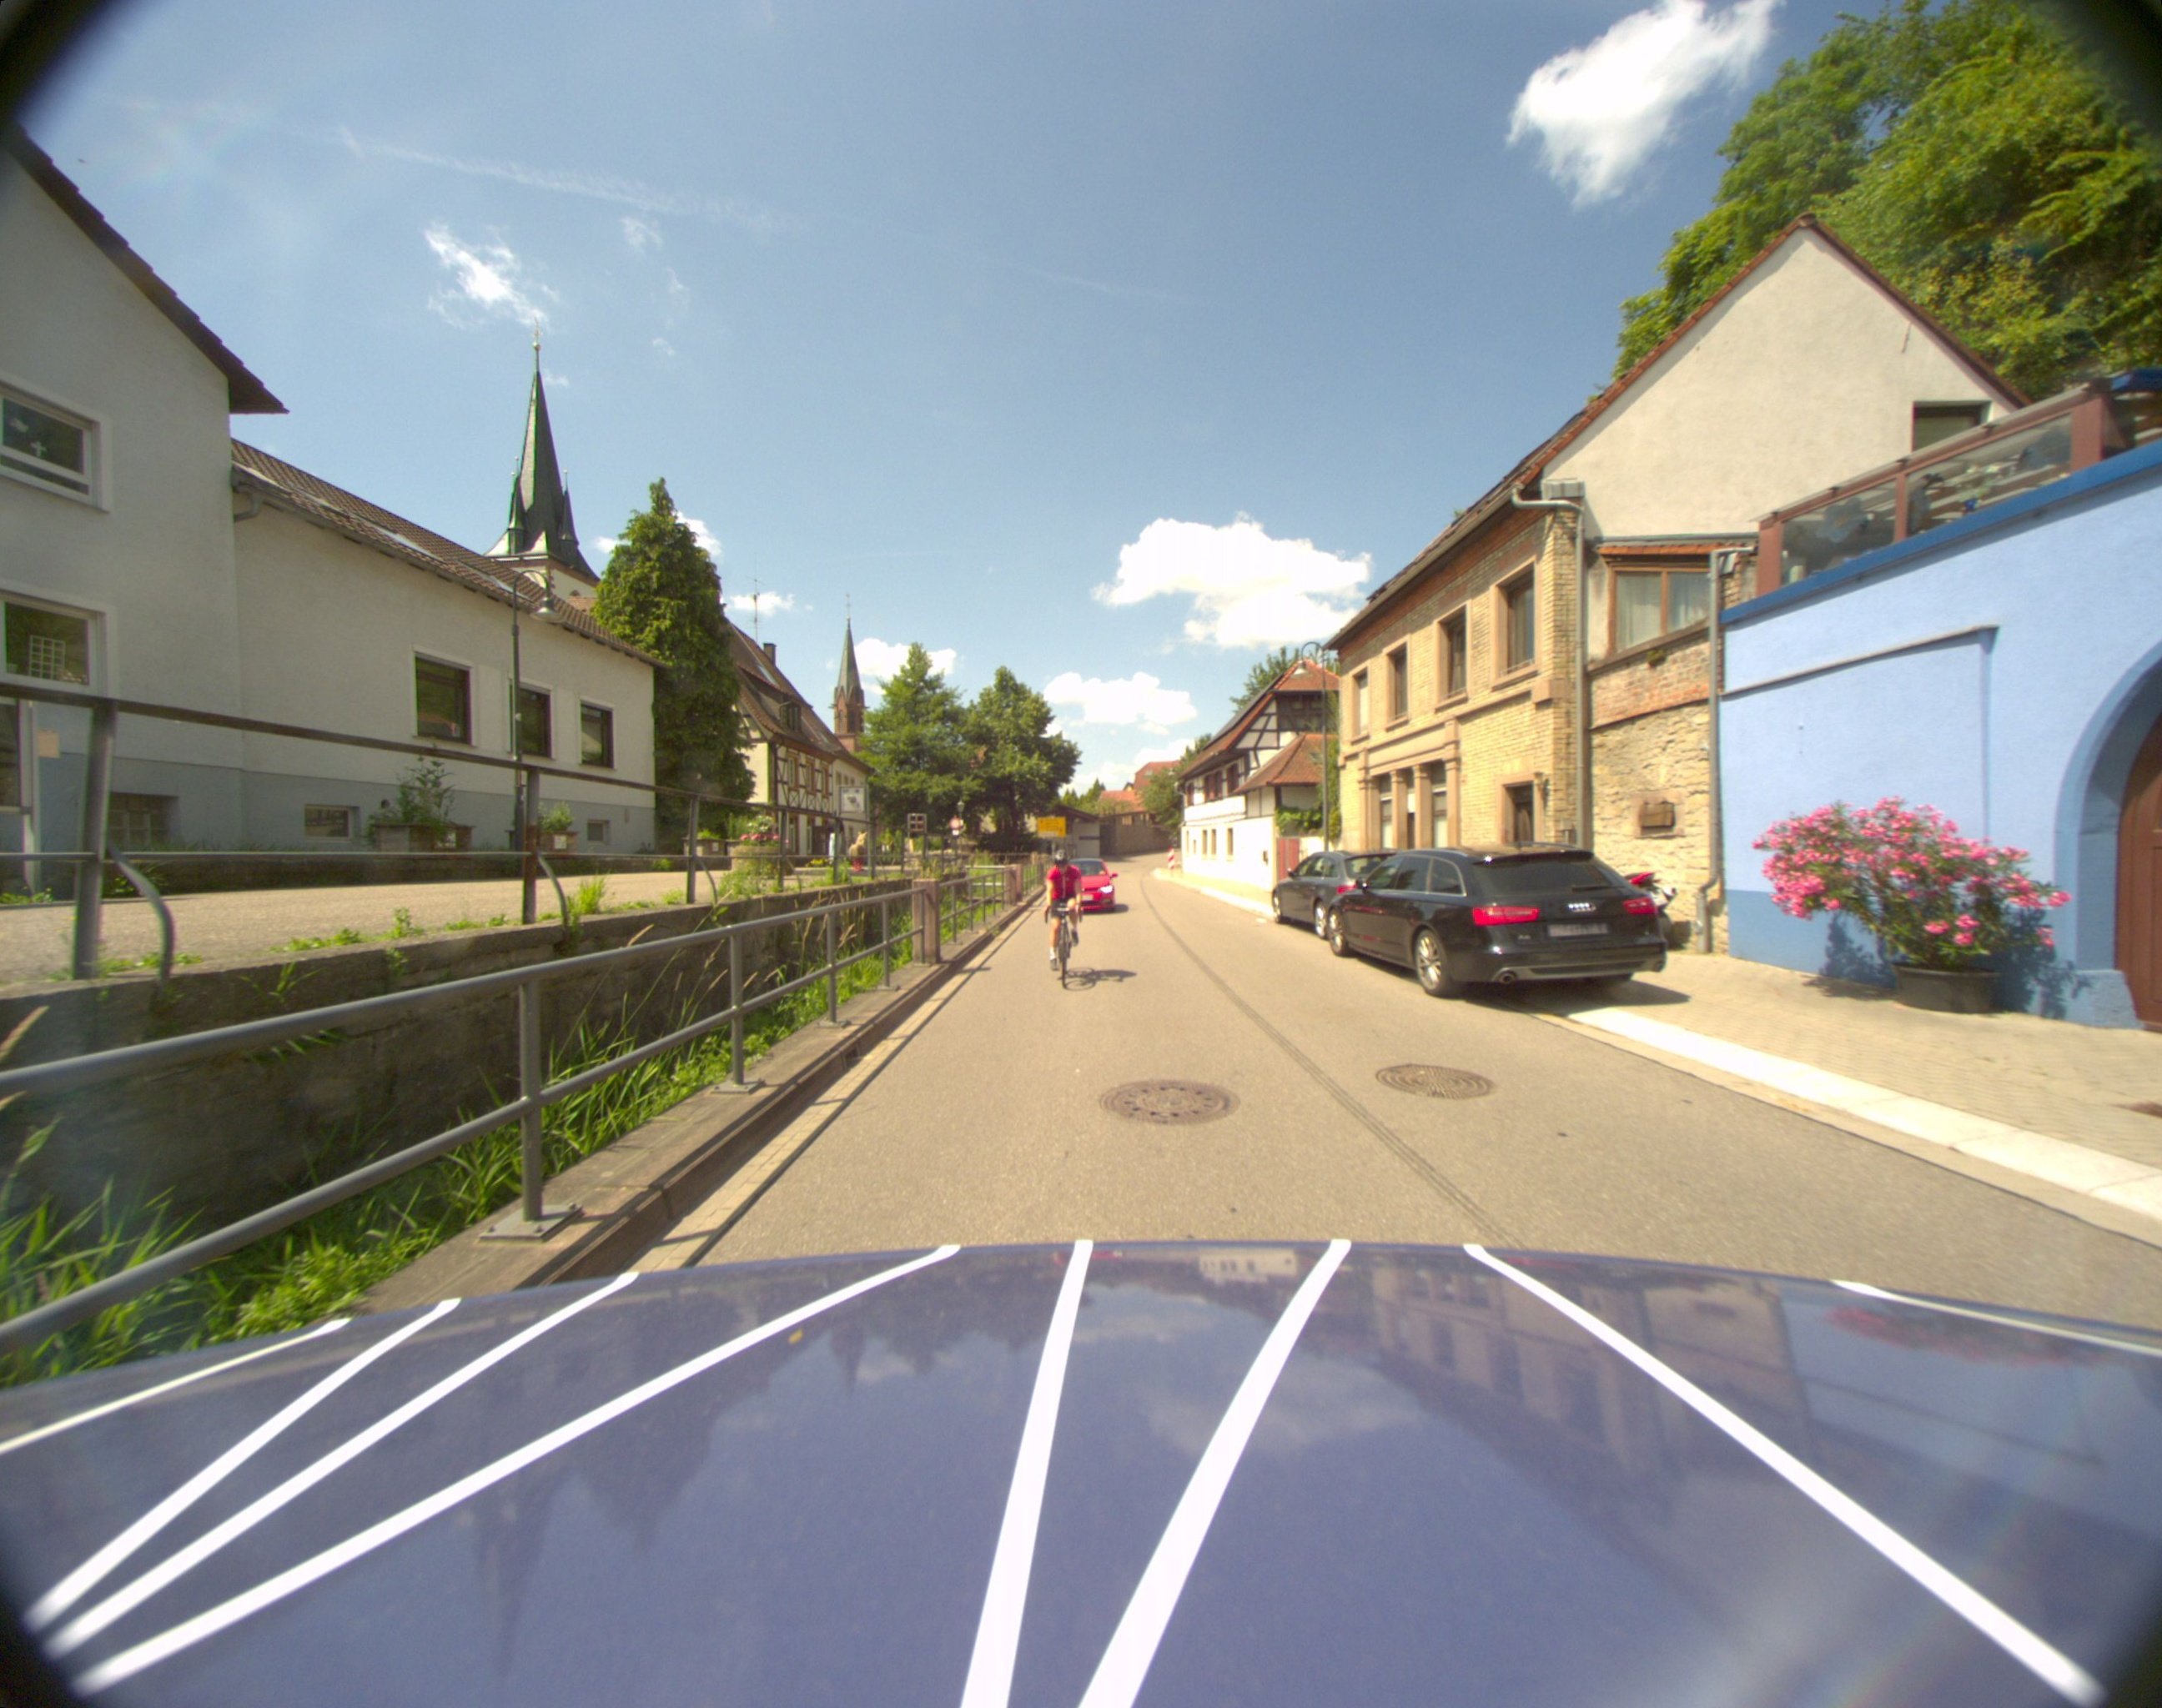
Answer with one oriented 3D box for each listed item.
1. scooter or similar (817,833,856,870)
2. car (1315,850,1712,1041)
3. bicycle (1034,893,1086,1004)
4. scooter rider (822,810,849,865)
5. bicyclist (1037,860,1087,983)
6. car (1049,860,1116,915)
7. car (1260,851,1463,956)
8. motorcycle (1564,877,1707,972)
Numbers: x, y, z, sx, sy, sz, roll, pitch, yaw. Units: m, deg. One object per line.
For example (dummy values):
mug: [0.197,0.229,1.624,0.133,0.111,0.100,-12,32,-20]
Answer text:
scooter or similar: [-7.919,-0.097,24.666,0.643,1.135,1.811,1,1,2]
car: [4.264,0.762,8.576,1.889,1.455,4.669,-4,0,2]
bicycle: [-0.219,1.090,9.342,0.531,1.070,2.054,-1,1,1]
scooter rider: [-7.944,-0.529,24.612,0.643,1.722,0.554,-1,1,1]
bicyclist: [-0.215,0.779,9.119,0.532,1.396,0.755,-1,1,1]
car: [-0.024,0.865,21.072,1.670,1.344,3.493,-1,0,-3]
car: [4.759,0.729,13.688,1.962,1.457,4.544,-1,1,0]
motorcycle: [7.101,0.859,9.847,0.419,0.995,1.858,-5,1,-1]
